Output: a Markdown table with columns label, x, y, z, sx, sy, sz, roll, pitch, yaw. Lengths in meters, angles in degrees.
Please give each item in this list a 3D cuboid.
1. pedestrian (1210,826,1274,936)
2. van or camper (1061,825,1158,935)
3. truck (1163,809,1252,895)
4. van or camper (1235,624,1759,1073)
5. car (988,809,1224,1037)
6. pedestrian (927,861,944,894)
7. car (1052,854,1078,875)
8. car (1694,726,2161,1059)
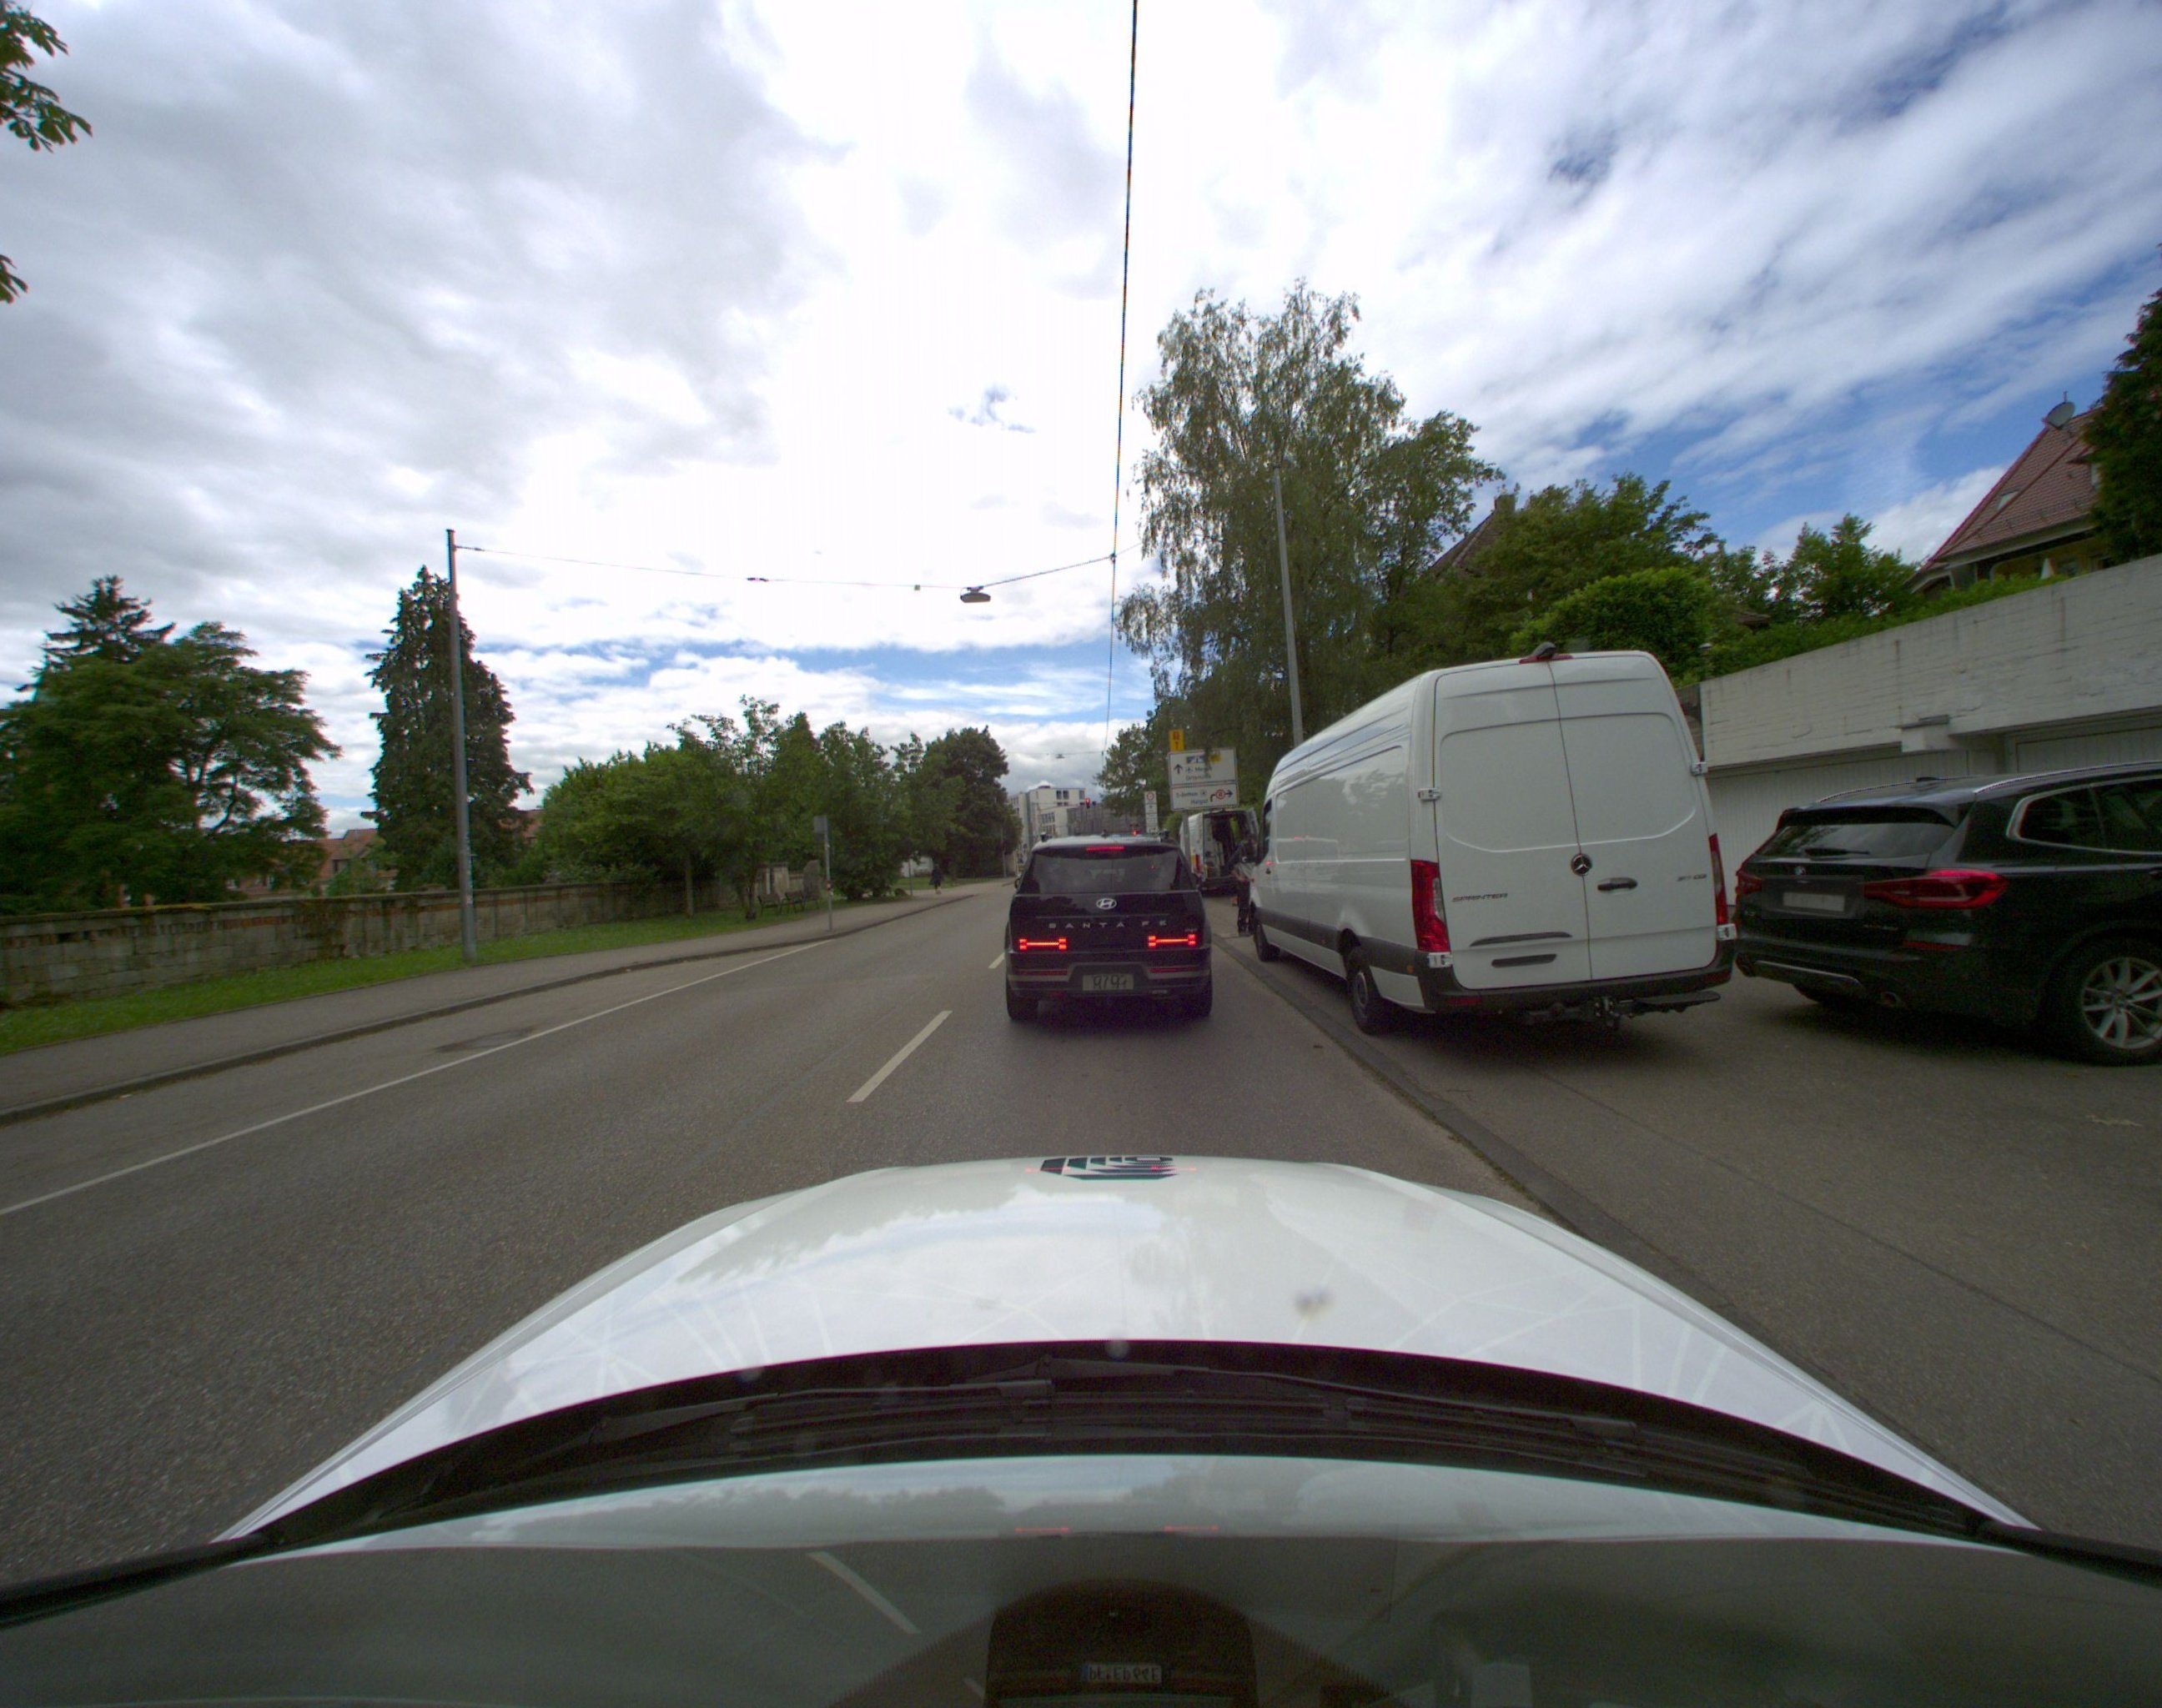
| label | x | y | z | sx | sy | sz | roll | pitch | yaw |
| --- | --- | --- | --- | --- | --- | --- | --- | --- | --- |
| pedestrian | 2.760 | 0.445 | 14.013 | 0.867 | 1.797 | 0.760 | -3 | 0 | 1 |
| van or camper | 0.613 | 0.507 | 17.618 | 1.748 | 2.013 | 4.002 | -3 | 0 | 2 |
| truck | 4.208 | -0.035 | 28.011 | 1.937 | 2.561 | 5.213 | -5 | -1 | -1 |
| van or camper | 3.132 | -0.029 | 8.204 | 1.986 | 2.620 | 6.543 | -3 | 0 | 2 |
| car | 0.265 | 0.565 | 8.675 | 1.883 | 1.819 | 4.002 | -2 | 0 | 2 |
| pedestrian | -7.703 | 1.237 | 43.216 | 0.737 | 1.715 | 0.791 | -3 | 0 | -5 |
| car | -1.384 | 0.889 | 71.565 | 1.852 | 1.657 | 4.307 | -6 | 0 | 2 |
| car | 6.861 | 0.130 | 5.235 | 4.398 | 1.750 | 1.739 | -3 | 0 | 3 |
